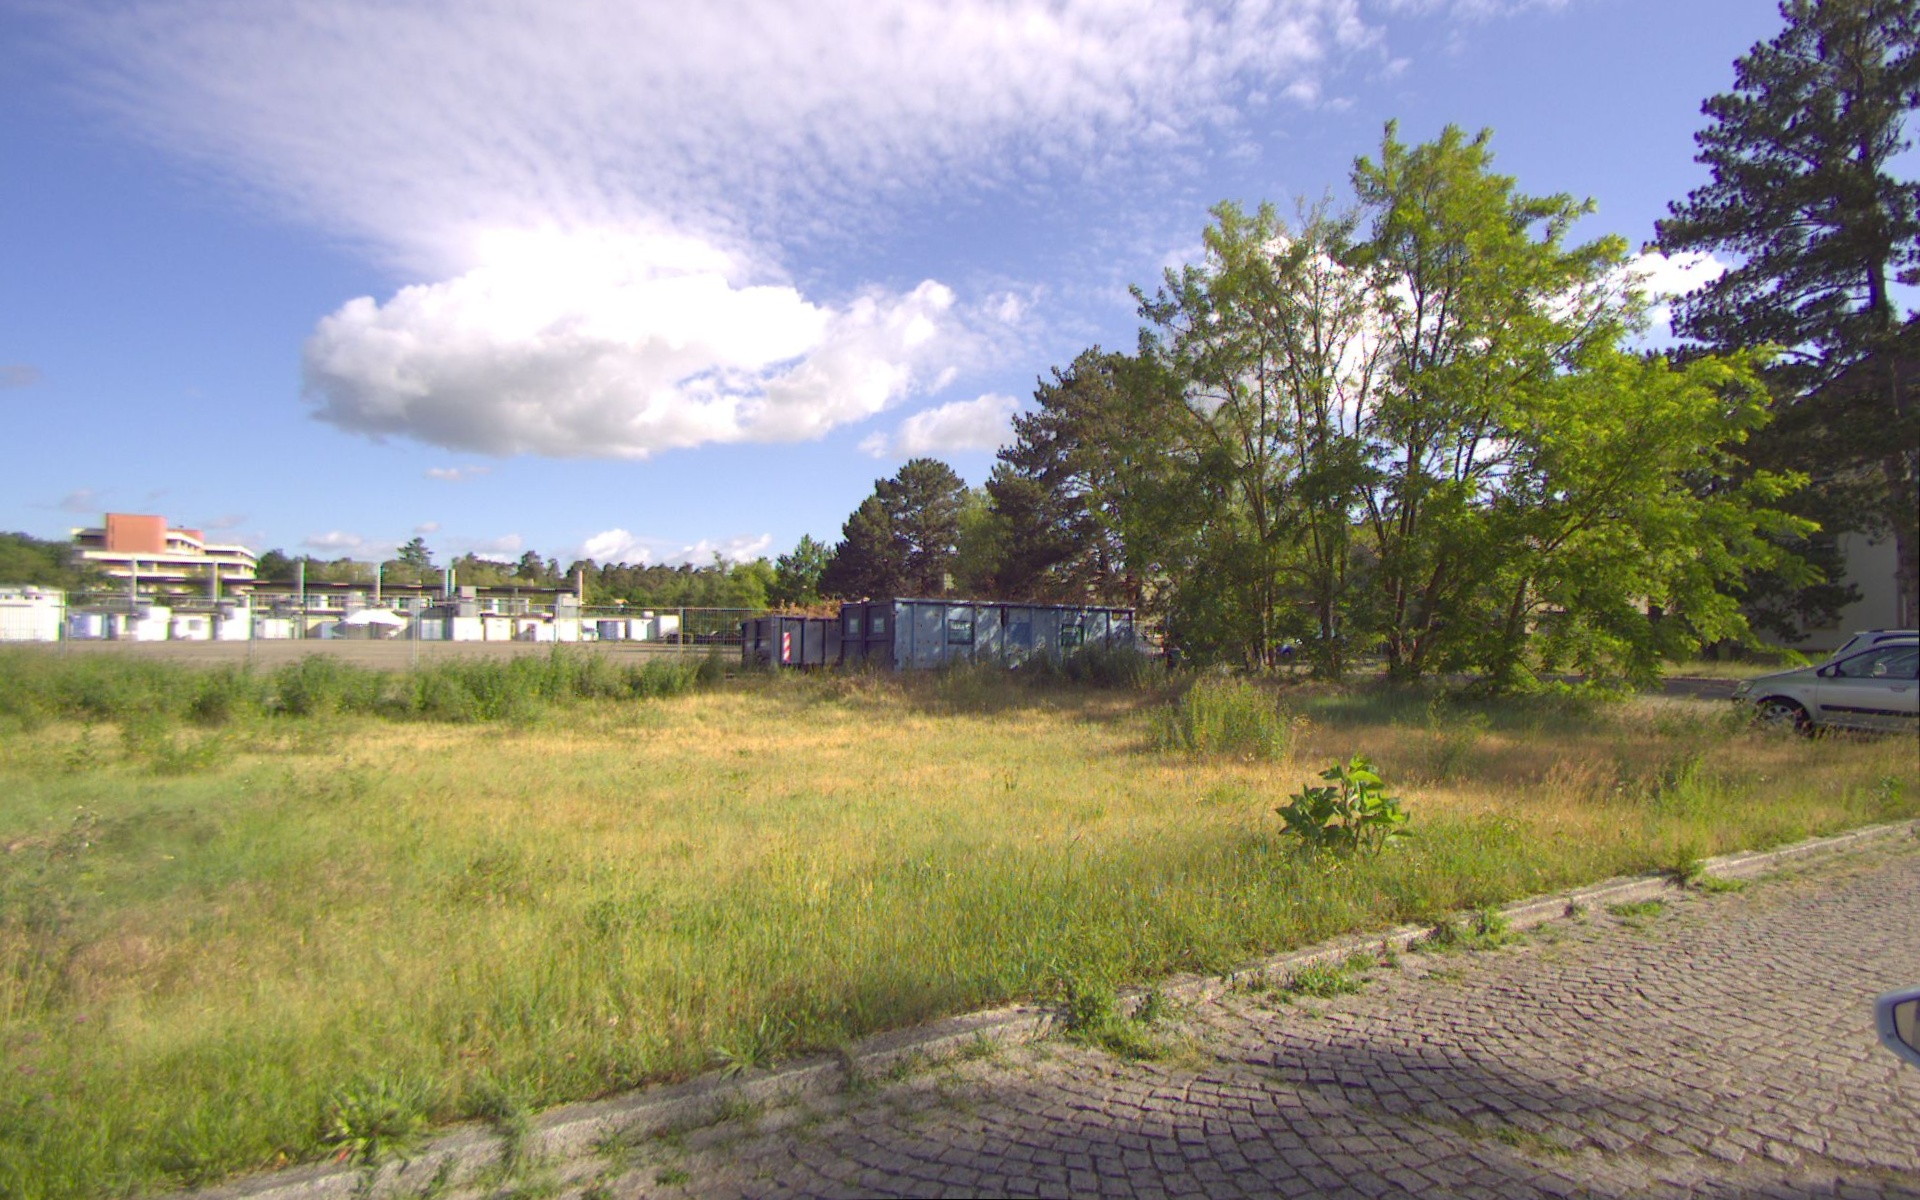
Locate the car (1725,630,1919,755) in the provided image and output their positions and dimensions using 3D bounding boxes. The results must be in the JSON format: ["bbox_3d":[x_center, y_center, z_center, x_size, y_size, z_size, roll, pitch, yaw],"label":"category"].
[{"bbox_3d":[12.806,1.232,13.471,1.628,1.507,3.725,1,0,-32],"label":"car"}]

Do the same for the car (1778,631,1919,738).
[{"bbox_3d":[14.984,1.300,14.983,1.783,1.500,3.964,1,0,-32],"label":"car"}]

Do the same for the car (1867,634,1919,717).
[{"bbox_3d":[19.335,1.457,17.953,1.811,1.488,4.309,1,0,-32],"label":"car"}]

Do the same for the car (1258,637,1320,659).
[{"bbox_3d":[22.655,3.286,69.149,3.952,1.452,1.894,2,-2,-30],"label":"car"}]

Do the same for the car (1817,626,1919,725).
[{"bbox_3d":[17.292,1.318,16.853,1.865,1.614,4.057,1,0,-32],"label":"car"}]
